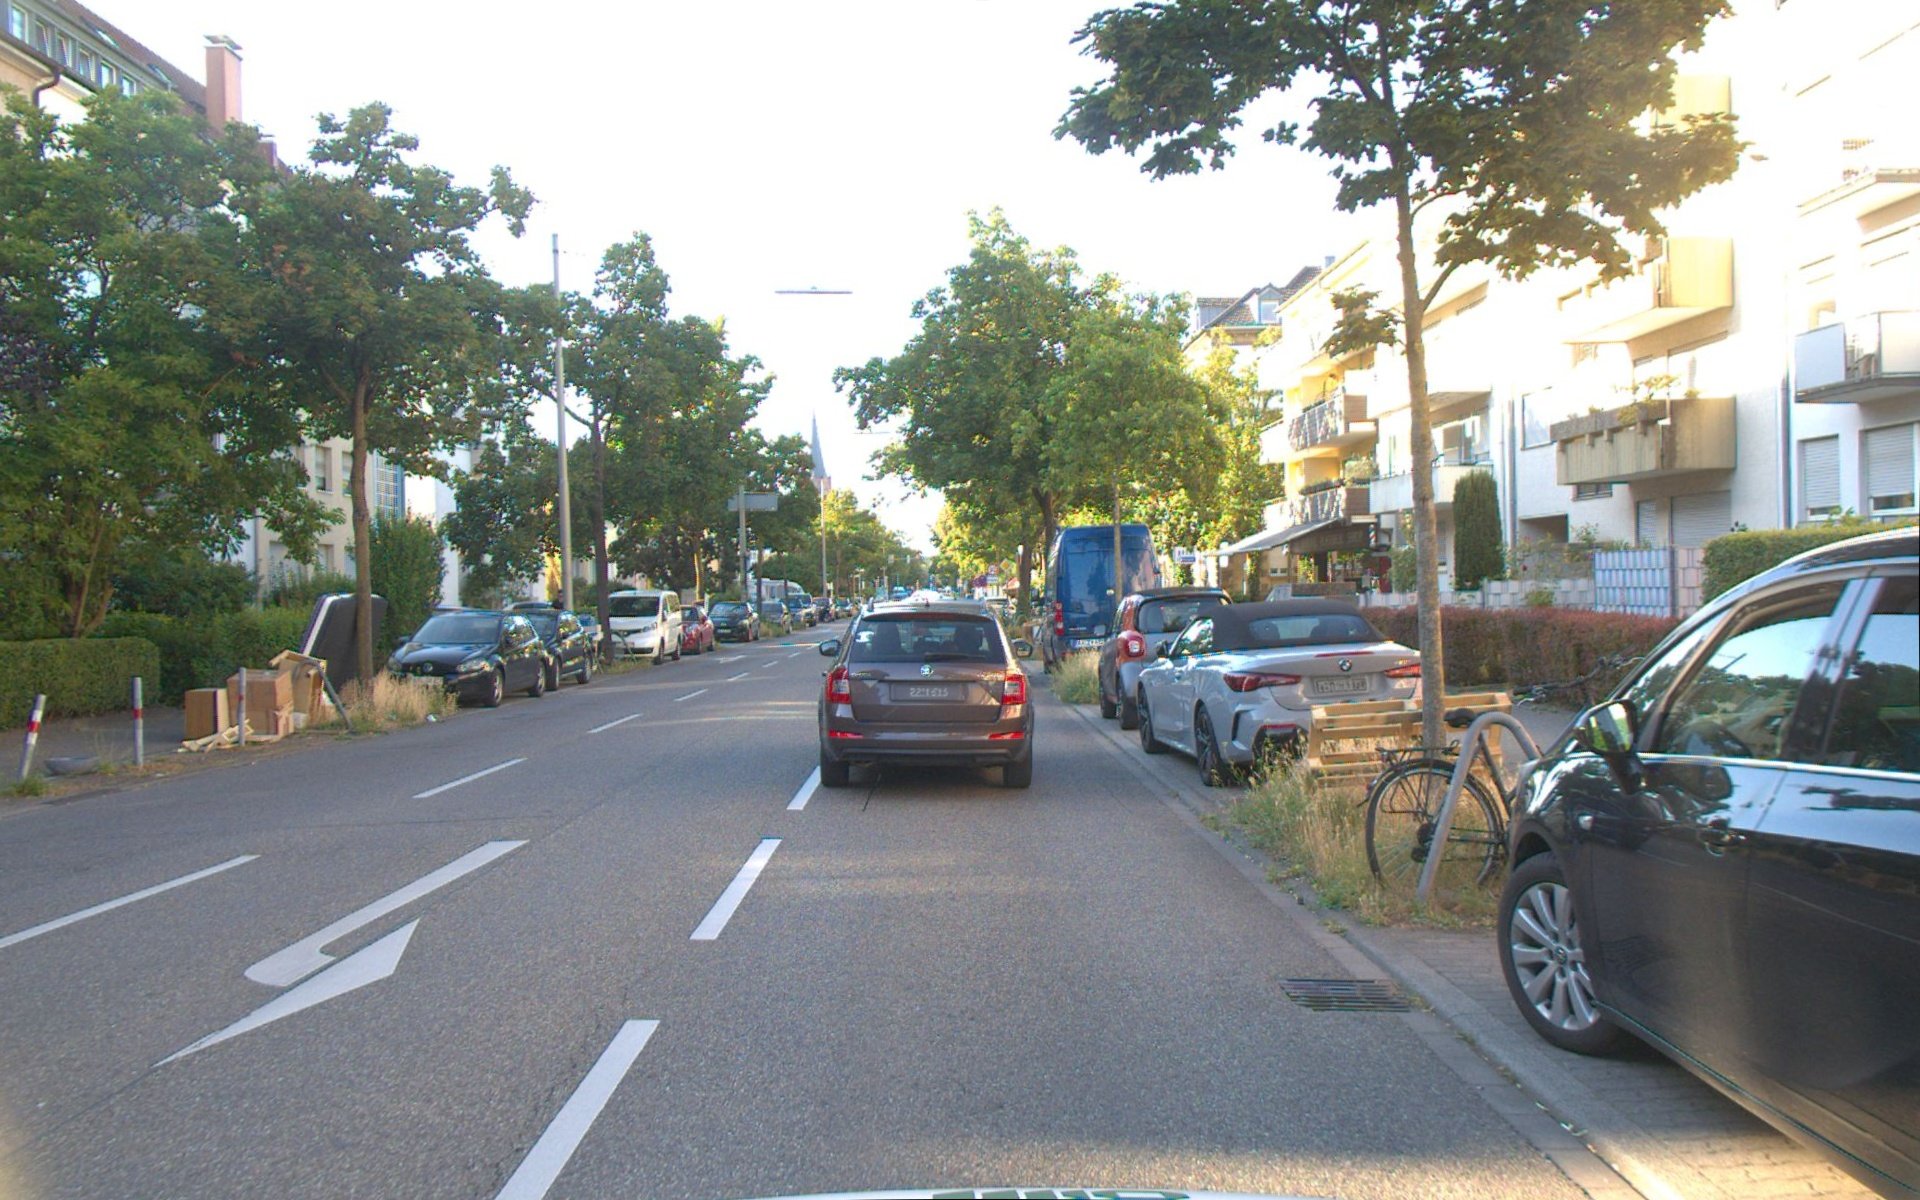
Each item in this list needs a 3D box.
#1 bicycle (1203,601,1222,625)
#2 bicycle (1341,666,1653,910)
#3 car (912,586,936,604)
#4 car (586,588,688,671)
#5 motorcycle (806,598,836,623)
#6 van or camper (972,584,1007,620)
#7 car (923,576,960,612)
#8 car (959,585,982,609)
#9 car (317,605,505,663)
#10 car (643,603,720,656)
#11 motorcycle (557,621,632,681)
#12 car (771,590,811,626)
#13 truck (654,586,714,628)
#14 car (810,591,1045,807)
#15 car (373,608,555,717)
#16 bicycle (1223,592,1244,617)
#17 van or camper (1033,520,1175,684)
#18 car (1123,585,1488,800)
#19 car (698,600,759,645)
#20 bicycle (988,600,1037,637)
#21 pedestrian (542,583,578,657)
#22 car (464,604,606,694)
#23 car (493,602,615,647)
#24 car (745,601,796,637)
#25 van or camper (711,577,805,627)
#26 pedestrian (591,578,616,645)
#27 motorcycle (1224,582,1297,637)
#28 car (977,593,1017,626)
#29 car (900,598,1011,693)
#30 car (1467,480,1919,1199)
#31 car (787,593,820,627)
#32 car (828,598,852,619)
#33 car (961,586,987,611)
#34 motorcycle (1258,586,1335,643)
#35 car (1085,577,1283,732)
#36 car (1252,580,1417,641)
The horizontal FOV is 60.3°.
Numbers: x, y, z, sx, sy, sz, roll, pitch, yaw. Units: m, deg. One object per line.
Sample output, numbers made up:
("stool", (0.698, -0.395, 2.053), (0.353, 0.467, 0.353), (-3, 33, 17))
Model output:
("bicycle", (10.131, 0.518, 66.368), (0.335, 0.967, 1.580), (1, 0, -6))
("bicycle", (2.639, 0.898, 8.132), (1.452, 1.077, 0.410), (-1, 0, -14))
("car", (-3.832, -0.534, 176.518), (1.836, 1.788, 4.182), (-1, 1, 8))
("car", (-8.205, 0.704, 42.376), (1.734, 1.952, 4.459), (-1, 1, -1))
("motorcycle", (-8.539, 0.643, 101.370), (0.760, 1.538, 1.998), (-2, 1, -43))
("van or camper", (1.757, 0.095, 100.487), (1.953, 2.049, 4.000), (-1, 1, -1))
("car", (-0.895, -0.305, 79.249), (1.697, 1.680, 3.541), (-1, 1, -1))
("car", (0.833, -0.269, 136.262), (1.695, 1.846, 3.949), (-1, 1, -2))
("car", (-14.749, 0.900, 44.700), (4.631, 1.386, 1.993), (-1, 1, -14))
("car", (-8.316, 0.866, 49.661), (1.682, 1.445, 3.786), (-1, 1, -1))
("motorcycle", (-7.835, 1.076, 35.534), (0.433, 1.212, 1.700), (-1, 1, 36))
("car", (-8.818, 0.408, 86.338), (1.714, 1.771, 3.590), (-1, 1, -1))
("truck", (-14.621, 0.379, 87.691), (2.854, 2.130, 1.546), (-1, 0, -1))
("car", (-0.217, 0.715, 14.104), (1.694, 1.520, 3.951), (-1, 1, 1))
("car", (-7.991, 0.950, 27.038), (1.714, 1.529, 4.196), (-1, 1, -1))
("bicycle", (10.874, 0.173, 65.793), (0.335, 0.967, 1.580), (-3, 0, -6))
("van or camper", (2.571, 0.041, 30.948), (2.025, 2.722, 5.988), (-1, 0, -1))
("car", (2.766, 0.649, 14.446), (1.882, 1.512, 4.742), (-1, 1, -4))
("car", (-8.587, 0.819, 61.657), (1.682, 1.523, 4.247), (-1, 1, -1))
("bicycle", (1.923, 0.661, 60.831), (1.635, 1.247, 0.636), (-3, 0, 12))
("pedestrian", (-11.234, 0.549, 46.450), (0.751, 2.049, 0.976), (-1, 0, -1))
("car", (-8.130, 0.893, 31.981), (1.714, 1.529, 3.978), (-1, 1, -1))
("car", (-14.364, 0.844, 58.653), (3.909, 1.505, 1.998), (0, 1, -5))
("car", (-8.357, 0.803, 73.375), (1.718, 1.445, 4.425), (-1, 1, 0))
("van or camper", (-16.757, 0.133, 137.402), (7.487, 3.942, 1.999), (-1, 0, -3))
("pedestrian", (-11.043, 0.350, 51.262), (0.614, 2.049, 0.616), (-1, 0, -1))
("motorcycle", (9.230, 0.285, 50.884), (2.148, 1.649, 0.731), (-1, 0, 6))
("car", (1.715, 0.414, 76.587), (1.783, 1.438, 4.112), (-1, 1, 1))
("car", (-0.142, 0.765, 29.840), (1.695, 1.520, 3.947), (-1, 1, -4))
("car", (2.744, 0.576, 3.931), (1.697, 1.680, 4.291), (-1, 1, -1))
("car", (-8.603, 0.545, 91.009), (1.476, 1.788, 3.693), (-1, 1, -1))
("car", (-9.256, 0.648, 127.650), (1.630, 1.457, 3.275), (-1, 1, -1))
("car", (1.030, -0.120, 123.773), (1.695, 1.846, 3.949), (-1, 1, -2))
("motorcycle", (10.151, 0.421, 49.951), (2.148, 1.649, 0.890), (-1, 0, 6))
("car", (2.618, 0.610, 20.162), (1.737, 1.671, 3.755), (-1, 0, -2))
("car", (9.898, 0.270, 43.932), (3.908, 1.487, 1.823), (-1, 1, -4))
